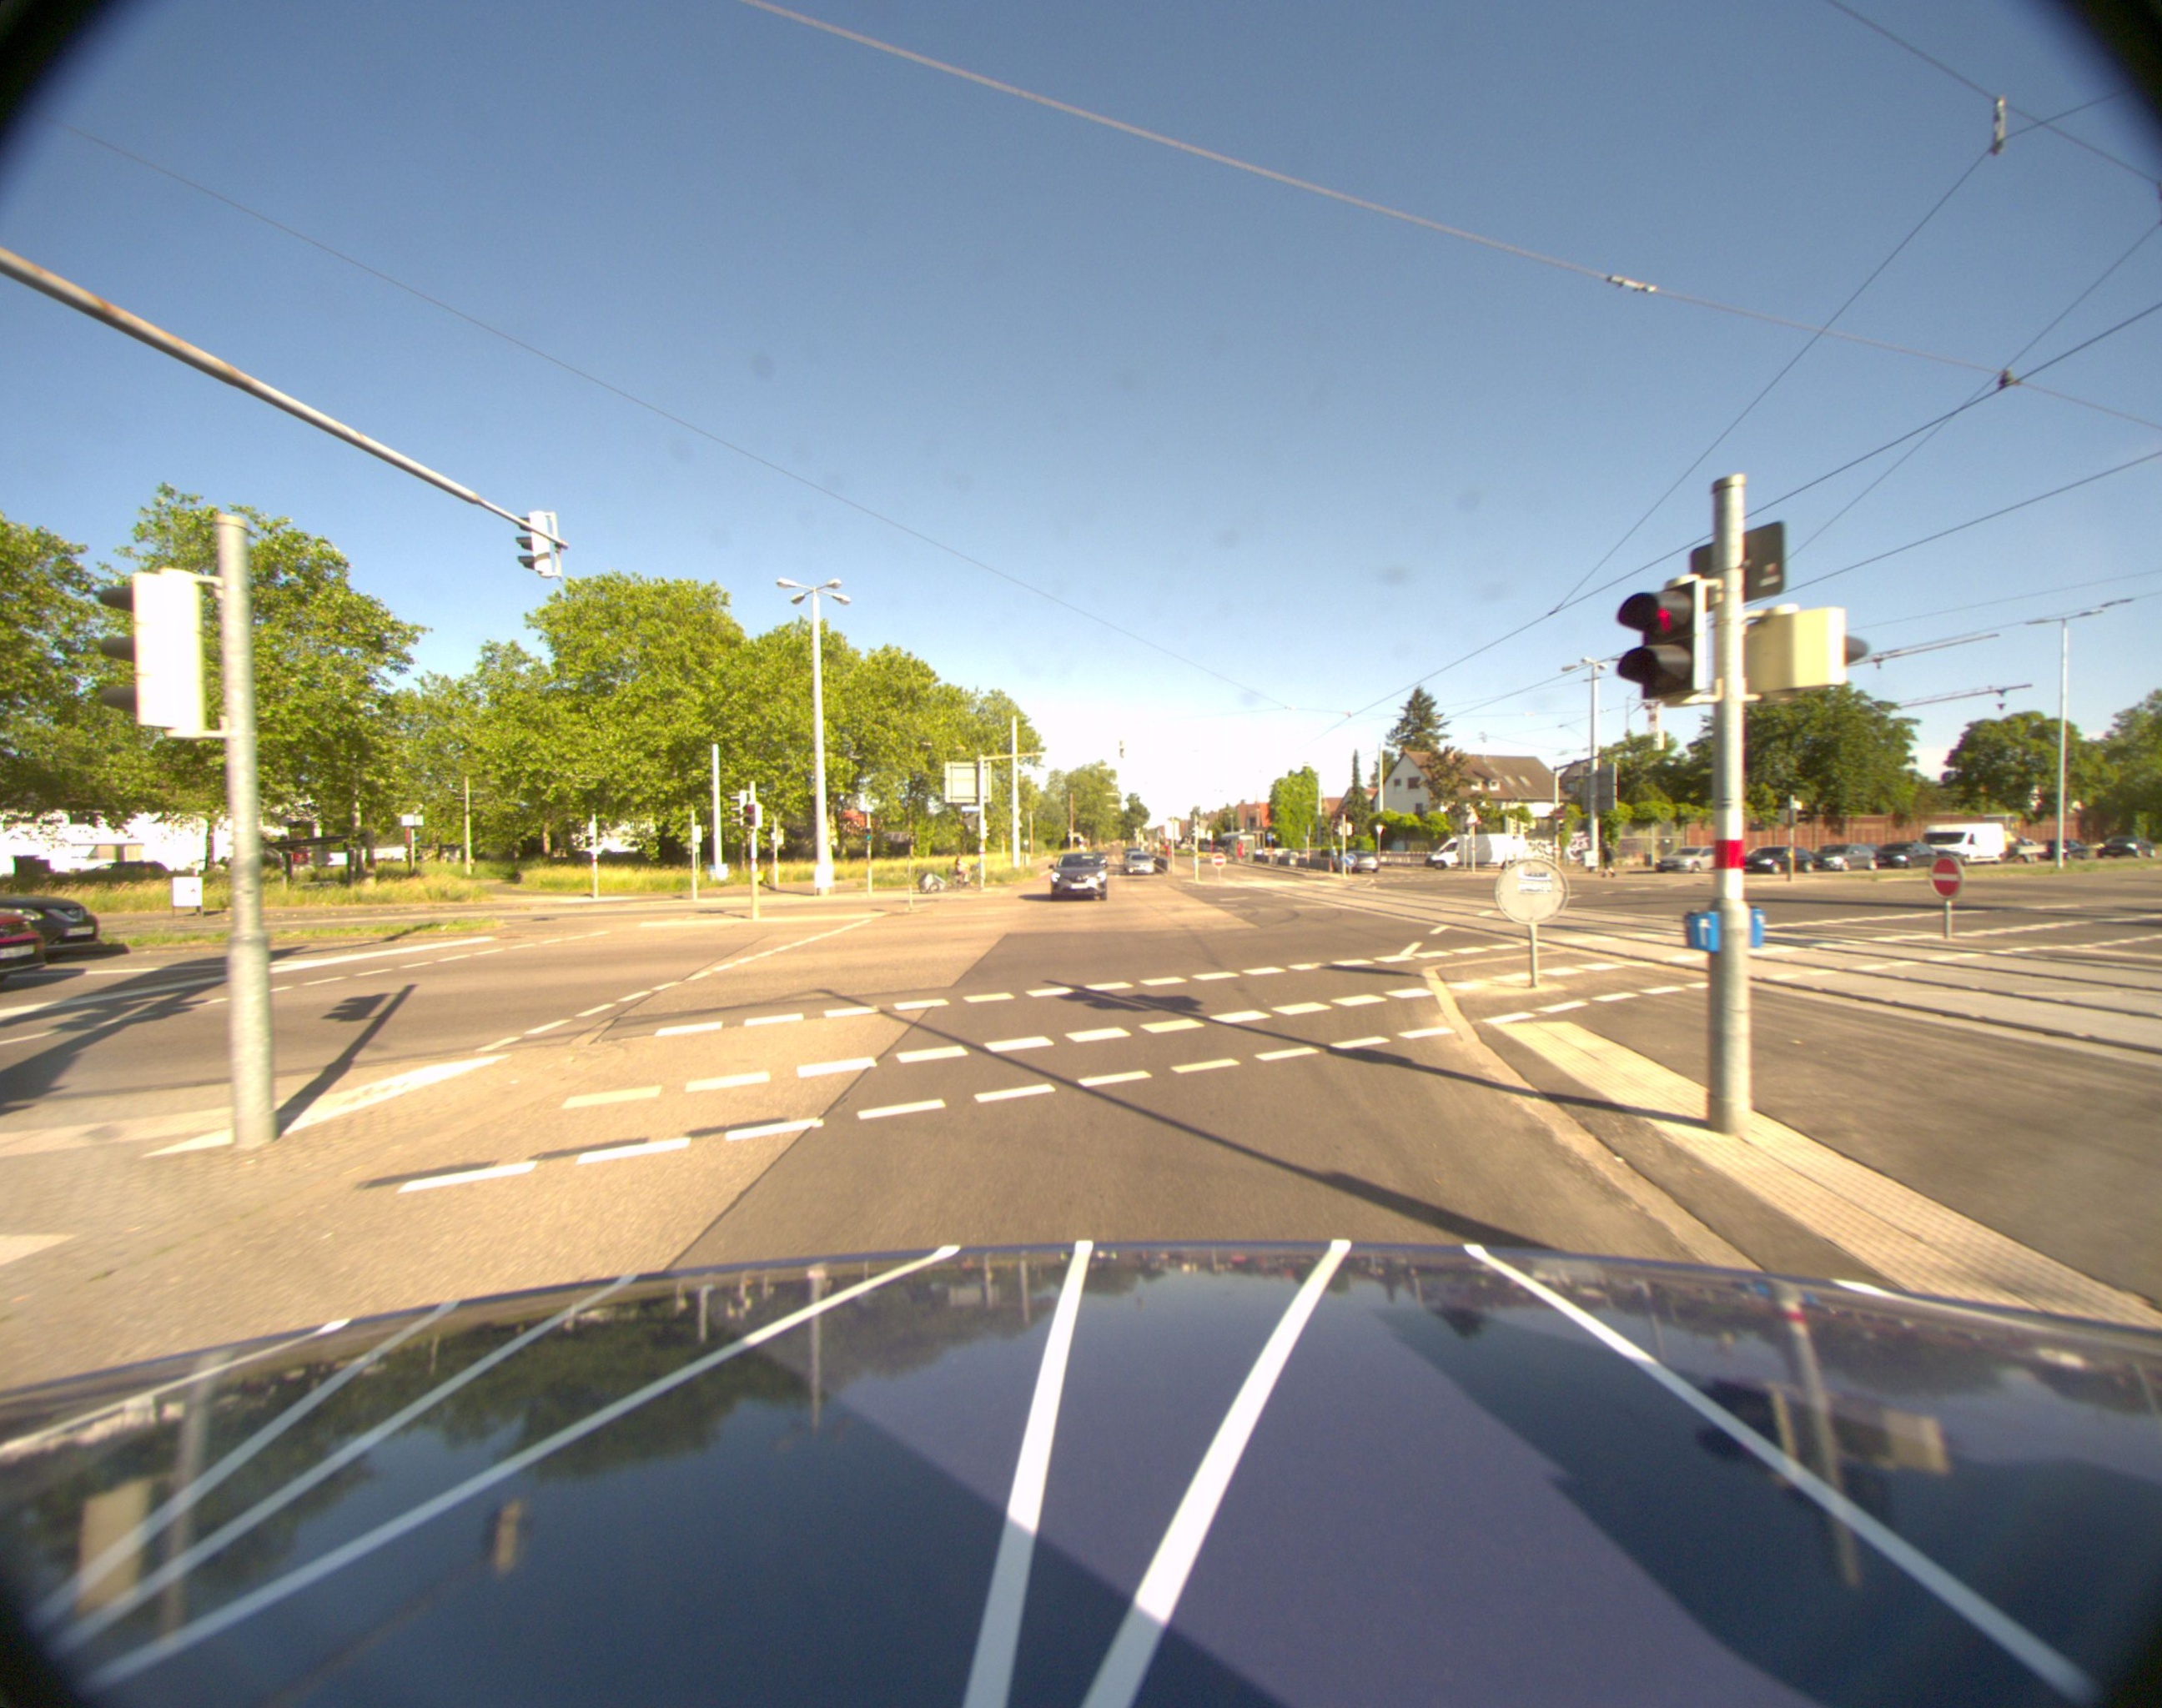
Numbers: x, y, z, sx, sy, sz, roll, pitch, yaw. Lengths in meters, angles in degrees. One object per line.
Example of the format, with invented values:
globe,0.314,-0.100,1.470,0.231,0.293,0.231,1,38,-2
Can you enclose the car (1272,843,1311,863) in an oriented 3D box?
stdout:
car,17.858,-0.110,64.628,1.818,1.587,4.691,-1,1,-2

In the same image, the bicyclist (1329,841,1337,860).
bicyclist,20.886,-0.284,62.955,0.490,1.599,0.648,-1,1,3

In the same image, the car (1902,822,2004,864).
car,51.497,-0.681,44.876,5.928,2.397,2.176,-1,1,-23

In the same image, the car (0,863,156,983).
car,-17.668,1.057,11.325,4.500,1.701,1.917,-1,1,-25

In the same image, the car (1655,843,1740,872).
car,33.412,0.183,41.171,4.642,1.468,1.669,-1,1,-25

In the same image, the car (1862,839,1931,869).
car,45.280,-0.025,42.180,3.531,1.558,1.494,-1,0,-22

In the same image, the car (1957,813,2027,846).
car,56.945,-1.495,47.489,4.005,2.002,1.804,-1,1,-25

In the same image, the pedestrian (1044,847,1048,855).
pedestrian,-4.782,-0.426,103.407,0.482,1.027,0.454,0,1,3

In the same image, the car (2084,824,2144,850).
car,72.810,-1.185,53.534,4.005,1.731,1.804,-1,0,-26

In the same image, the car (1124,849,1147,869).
car,4.070,0.359,57.360,1.585,1.460,3.414,-1,1,2

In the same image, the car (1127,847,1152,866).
car,4.899,0.202,63.995,1.754,1.525,4.194,0,1,0

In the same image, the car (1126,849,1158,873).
car,3.968,0.429,50.301,1.881,1.519,4.421,0,1,2

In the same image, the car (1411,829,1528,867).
car,25.986,-0.418,51.140,6.854,2.444,2.352,0,1,23

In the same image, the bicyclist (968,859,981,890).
bicyclist,-4.579,0.870,32.690,0.565,1.333,0.510,-1,1,-7

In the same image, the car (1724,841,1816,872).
car,34.795,0.119,38.363,4.254,1.458,1.934,-1,1,-25

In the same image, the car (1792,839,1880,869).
car,40.033,-0.018,40.302,4.264,1.458,1.934,-1,0,-25

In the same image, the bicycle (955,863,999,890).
bicycle,-4.483,0.961,32.755,1.820,1.112,0.467,-1,1,-10

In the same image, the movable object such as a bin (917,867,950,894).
movable object such as a bin,-6.113,1.074,31.547,1.317,1.062,0.911,-1,1,-10

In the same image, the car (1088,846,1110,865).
car,1.515,0.108,64.623,1.839,1.541,3.815,0,1,0

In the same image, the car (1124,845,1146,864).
car,4.949,-0.010,70.319,1.885,1.687,4.300,0,1,2

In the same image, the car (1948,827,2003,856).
car,65.014,-0.924,55.216,4.007,2.002,1.995,-1,1,-32

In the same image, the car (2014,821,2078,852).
car,64.562,-1.188,50.836,4.005,2.002,1.804,-1,1,-26

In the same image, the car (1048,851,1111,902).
car,0.022,0.686,25.262,1.838,1.541,3.816,0,1,3

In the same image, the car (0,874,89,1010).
car,-15.016,1.100,8.664,4.095,1.591,1.813,-1,1,-23

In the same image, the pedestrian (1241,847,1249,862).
pedestrian,16.161,0.062,74.776,0.623,1.406,0.711,-1,1,1

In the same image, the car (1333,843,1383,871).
car,17.559,0.177,48.284,1.795,1.678,4.001,-1,1,1

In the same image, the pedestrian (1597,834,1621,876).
pedestrian,24.717,0.022,35.578,0.612,1.937,0.774,-2,1,-41

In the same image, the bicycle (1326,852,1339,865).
bicycle,20.909,0.349,63.268,0.508,1.036,1.949,-1,1,3

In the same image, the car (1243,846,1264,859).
car,19.373,-0.170,85.319,1.687,1.450,3.703,-1,1,2
